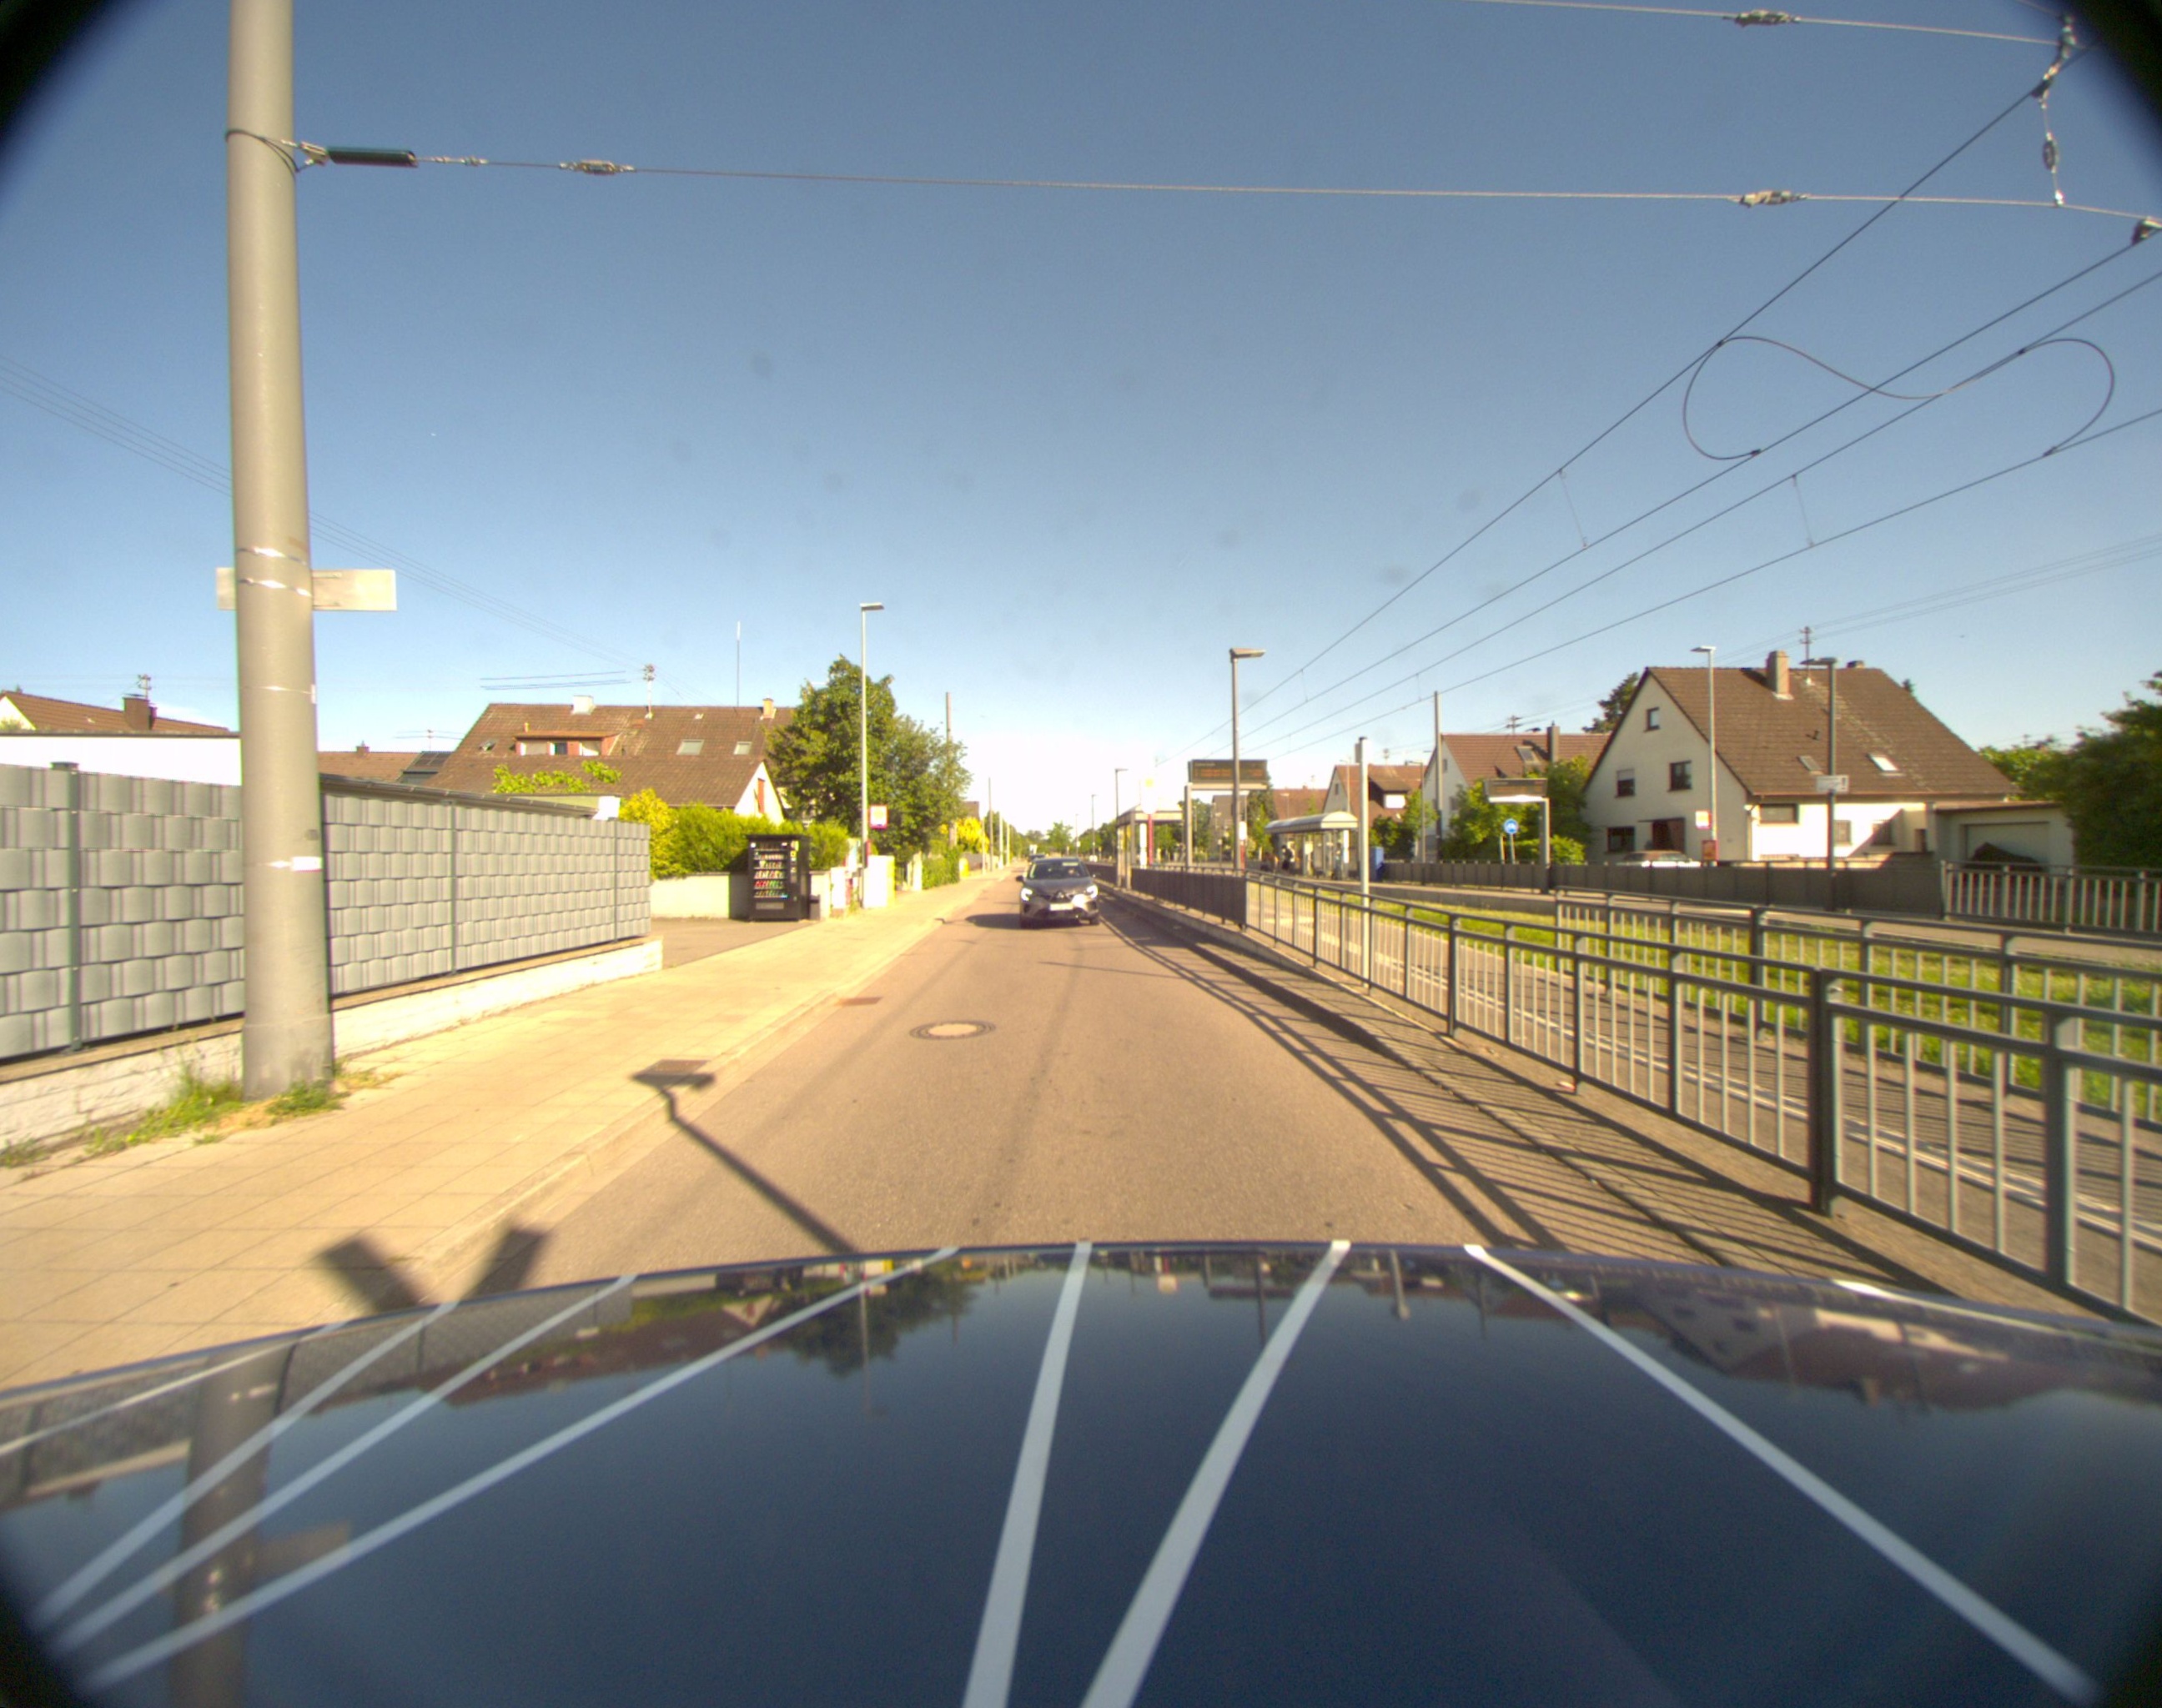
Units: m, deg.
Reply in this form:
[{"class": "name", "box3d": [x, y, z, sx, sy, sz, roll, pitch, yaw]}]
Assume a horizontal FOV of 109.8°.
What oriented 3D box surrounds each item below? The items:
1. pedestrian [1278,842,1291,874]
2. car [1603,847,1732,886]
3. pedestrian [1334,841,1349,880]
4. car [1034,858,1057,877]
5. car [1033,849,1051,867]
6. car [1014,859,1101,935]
[{"class": "pedestrian", "box3d": [11.198, 0.216, 41.802, 0.535, 1.742, 0.543, -1, 1, -3]}, {"class": "car", "box3d": [24.621, 0.521, 31.985, 3.990, 1.526, 1.999, -1, 0, -5]}, {"class": "pedestrian", "box3d": [11.837, 0.304, 34.591, 0.622, 1.742, 0.442, -1, 1, 17]}, {"class": "car", "box3d": [-2.737, 1.035, 59.449, 1.687, 1.379, 3.999, -2, 0, -1]}, {"class": "car", "box3d": [-4.970, 0.481, 96.473, 2.090, 2.226, 4.721, -2, 0, -2]}, {"class": "car", "box3d": [-0.517, 0.940, 18.377, 1.830, 1.570, 4.000, -2, 0, -1]}]
